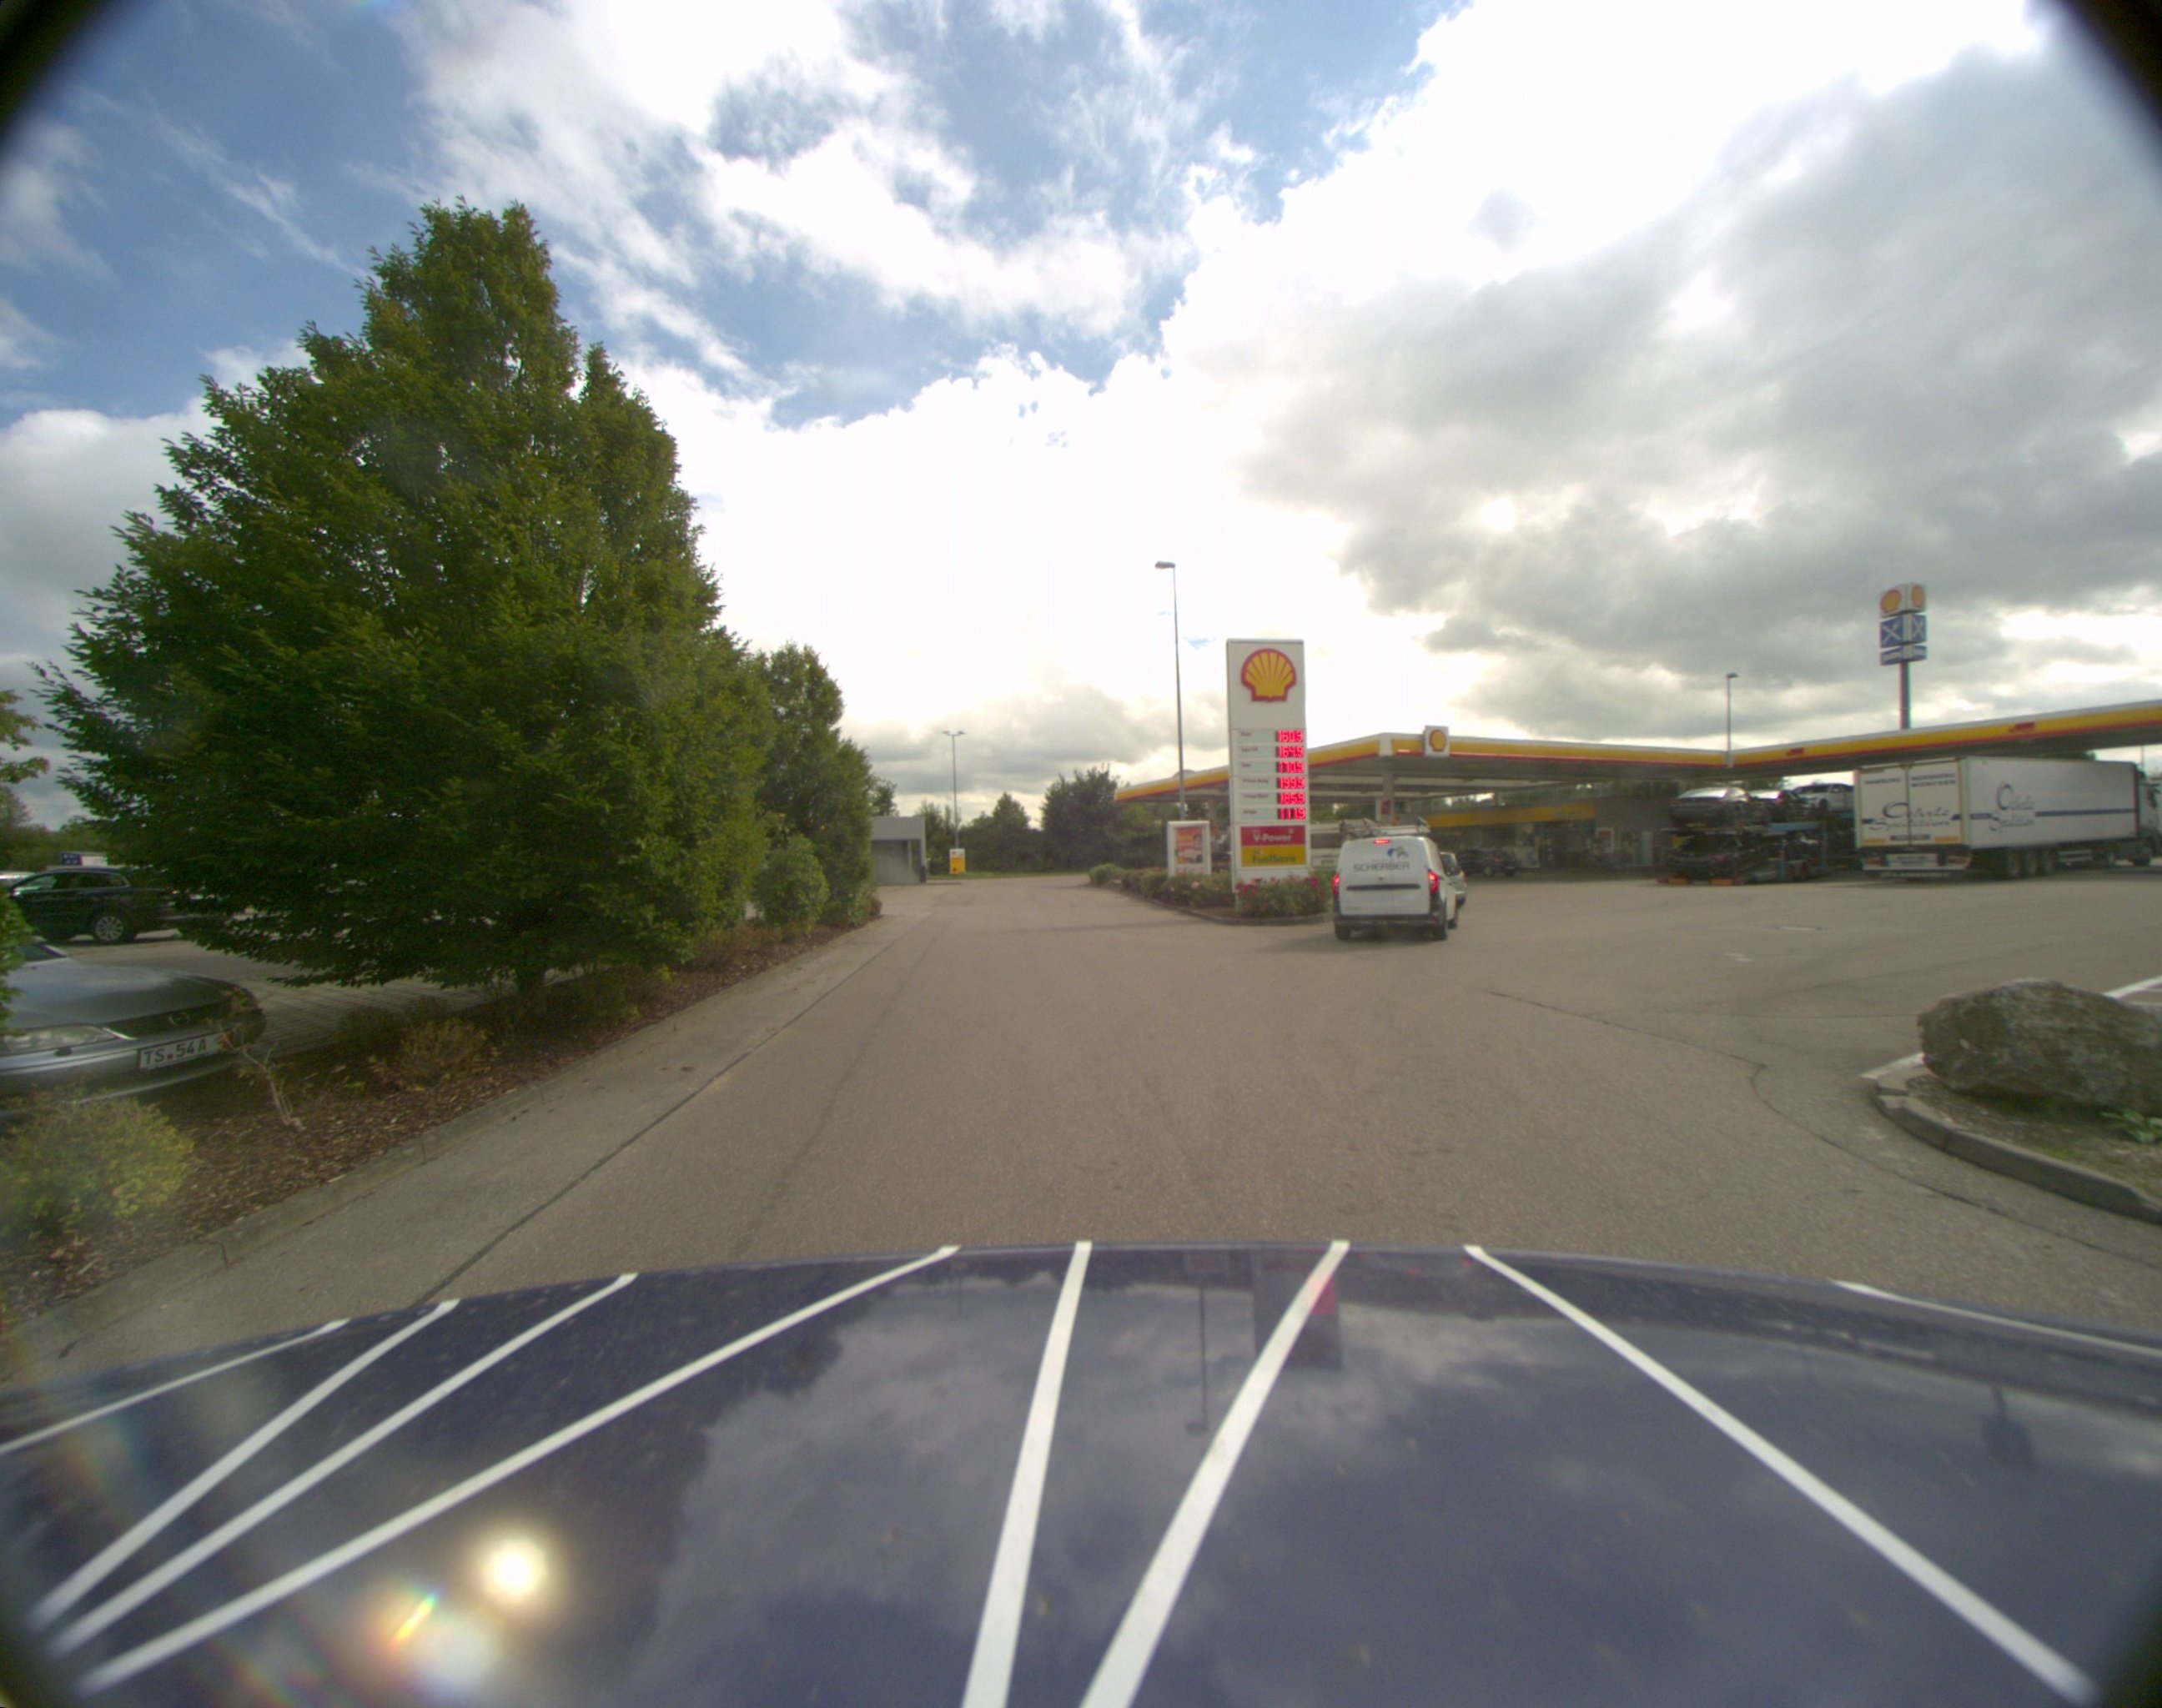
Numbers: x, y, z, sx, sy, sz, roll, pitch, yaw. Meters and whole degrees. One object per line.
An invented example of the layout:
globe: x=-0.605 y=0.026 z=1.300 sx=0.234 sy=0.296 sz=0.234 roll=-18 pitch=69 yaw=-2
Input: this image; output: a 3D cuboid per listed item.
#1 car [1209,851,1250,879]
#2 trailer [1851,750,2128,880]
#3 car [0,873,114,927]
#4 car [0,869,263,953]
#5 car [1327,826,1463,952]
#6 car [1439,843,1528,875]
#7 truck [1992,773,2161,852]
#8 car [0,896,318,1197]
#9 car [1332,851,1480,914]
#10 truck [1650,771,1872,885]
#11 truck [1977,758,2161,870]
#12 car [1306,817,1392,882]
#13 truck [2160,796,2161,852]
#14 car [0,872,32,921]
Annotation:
car: x=8.842 y=0.627 z=44.973 sx=1.847 sy=1.564 sz=4.005 roll=-2 pitch=0 yaw=18
trailer: x=32.766 y=-1.354 z=27.207 sx=12.861 sy=4.001 sz=2.708 roll=-2 pitch=0 yaw=-23
car: x=-36.681 y=1.579 z=26.045 sx=1.999 sy=1.739 sz=3.999 roll=-2 pitch=0 yaw=-3
car: x=-21.428 y=1.217 z=16.741 sx=4.256 sy=1.608 sz=1.998 roll=-2 pitch=0 yaw=-9
car: x=5.968 y=0.573 z=14.151 sx=1.792 sy=2.000 sz=3.888 roll=-2 pitch=-1 yaw=30
car: x=20.912 y=0.277 z=39.627 sx=1.719 sy=1.592 sz=3.753 roll=-2 pitch=0 yaw=-27
truck: x=59.307 y=-2.298 z=43.204 sx=2.956 sy=4.089 sz=14.769 roll=-1 pitch=1 yaw=22
car: x=-7.203 y=1.015 z=4.174 sx=3.999 sy=1.342 sz=1.724 roll=-2 pitch=0 yaw=-7
car: x=8.901 y=0.754 z=21.116 sx=1.581 sy=1.538 sz=3.715 roll=-2 pitch=0 yaw=-21
truck: x=27.497 y=-1.065 z=30.381 sx=13.278 sy=3.901 sz=2.745 roll=-2 pitch=1 yaw=-31
truck: x=38.783 y=-1.510 z=29.752 sx=7.176 sy=4.001 sz=2.708 roll=-2 pitch=0 yaw=-23
car: x=12.627 y=-0.208 z=35.565 sx=2.218 sy=2.770 sz=5.820 roll=-2 pitch=0 yaw=35
truck: x=77.188 y=-2.184 z=49.302 sx=2.987 sy=4.086 sz=11.594 roll=-2 pitch=0 yaw=26
car: x=-39.494 y=1.564 z=25.876 sx=1.999 sy=1.739 sz=3.999 roll=-2 pitch=0 yaw=-3
